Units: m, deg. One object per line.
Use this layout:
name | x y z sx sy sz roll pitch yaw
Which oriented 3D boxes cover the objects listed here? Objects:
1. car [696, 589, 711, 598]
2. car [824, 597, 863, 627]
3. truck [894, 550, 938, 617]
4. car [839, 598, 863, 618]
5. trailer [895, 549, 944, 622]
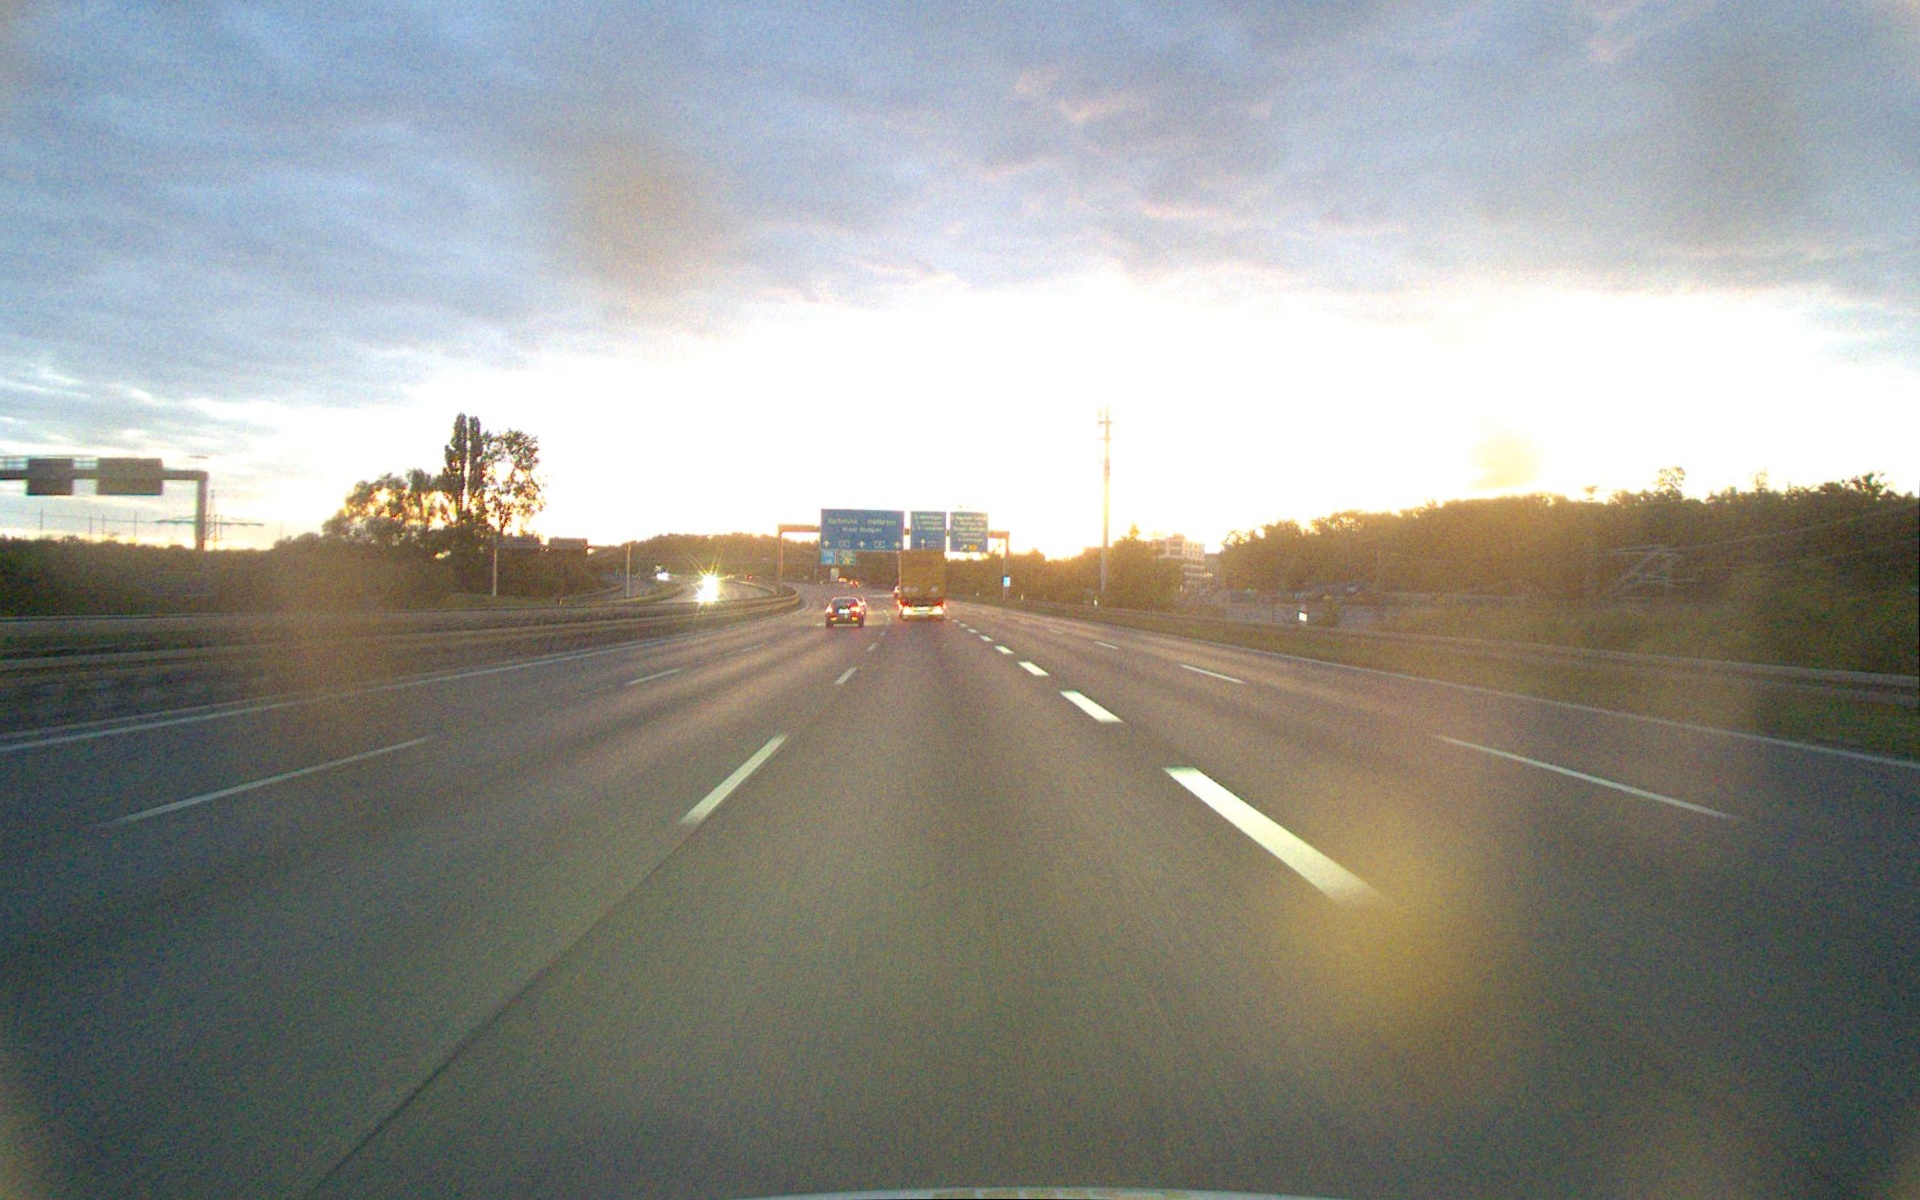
car | -39.296 -0.961 253.727 1.954 1.428 4.325 0 0 -5
car | -5.734 0.595 81.130 1.657 1.426 3.403 -1 0 -7
truck | -2.932 -1.107 107.916 2.636 4.142 10.515 -1 1 -3
car | -8.034 0.631 122.231 1.655 1.426 3.407 -1 -1 -2
trailer | -2.483 -0.904 98.250 2.667 4.142 8.827 -1 1 -3
